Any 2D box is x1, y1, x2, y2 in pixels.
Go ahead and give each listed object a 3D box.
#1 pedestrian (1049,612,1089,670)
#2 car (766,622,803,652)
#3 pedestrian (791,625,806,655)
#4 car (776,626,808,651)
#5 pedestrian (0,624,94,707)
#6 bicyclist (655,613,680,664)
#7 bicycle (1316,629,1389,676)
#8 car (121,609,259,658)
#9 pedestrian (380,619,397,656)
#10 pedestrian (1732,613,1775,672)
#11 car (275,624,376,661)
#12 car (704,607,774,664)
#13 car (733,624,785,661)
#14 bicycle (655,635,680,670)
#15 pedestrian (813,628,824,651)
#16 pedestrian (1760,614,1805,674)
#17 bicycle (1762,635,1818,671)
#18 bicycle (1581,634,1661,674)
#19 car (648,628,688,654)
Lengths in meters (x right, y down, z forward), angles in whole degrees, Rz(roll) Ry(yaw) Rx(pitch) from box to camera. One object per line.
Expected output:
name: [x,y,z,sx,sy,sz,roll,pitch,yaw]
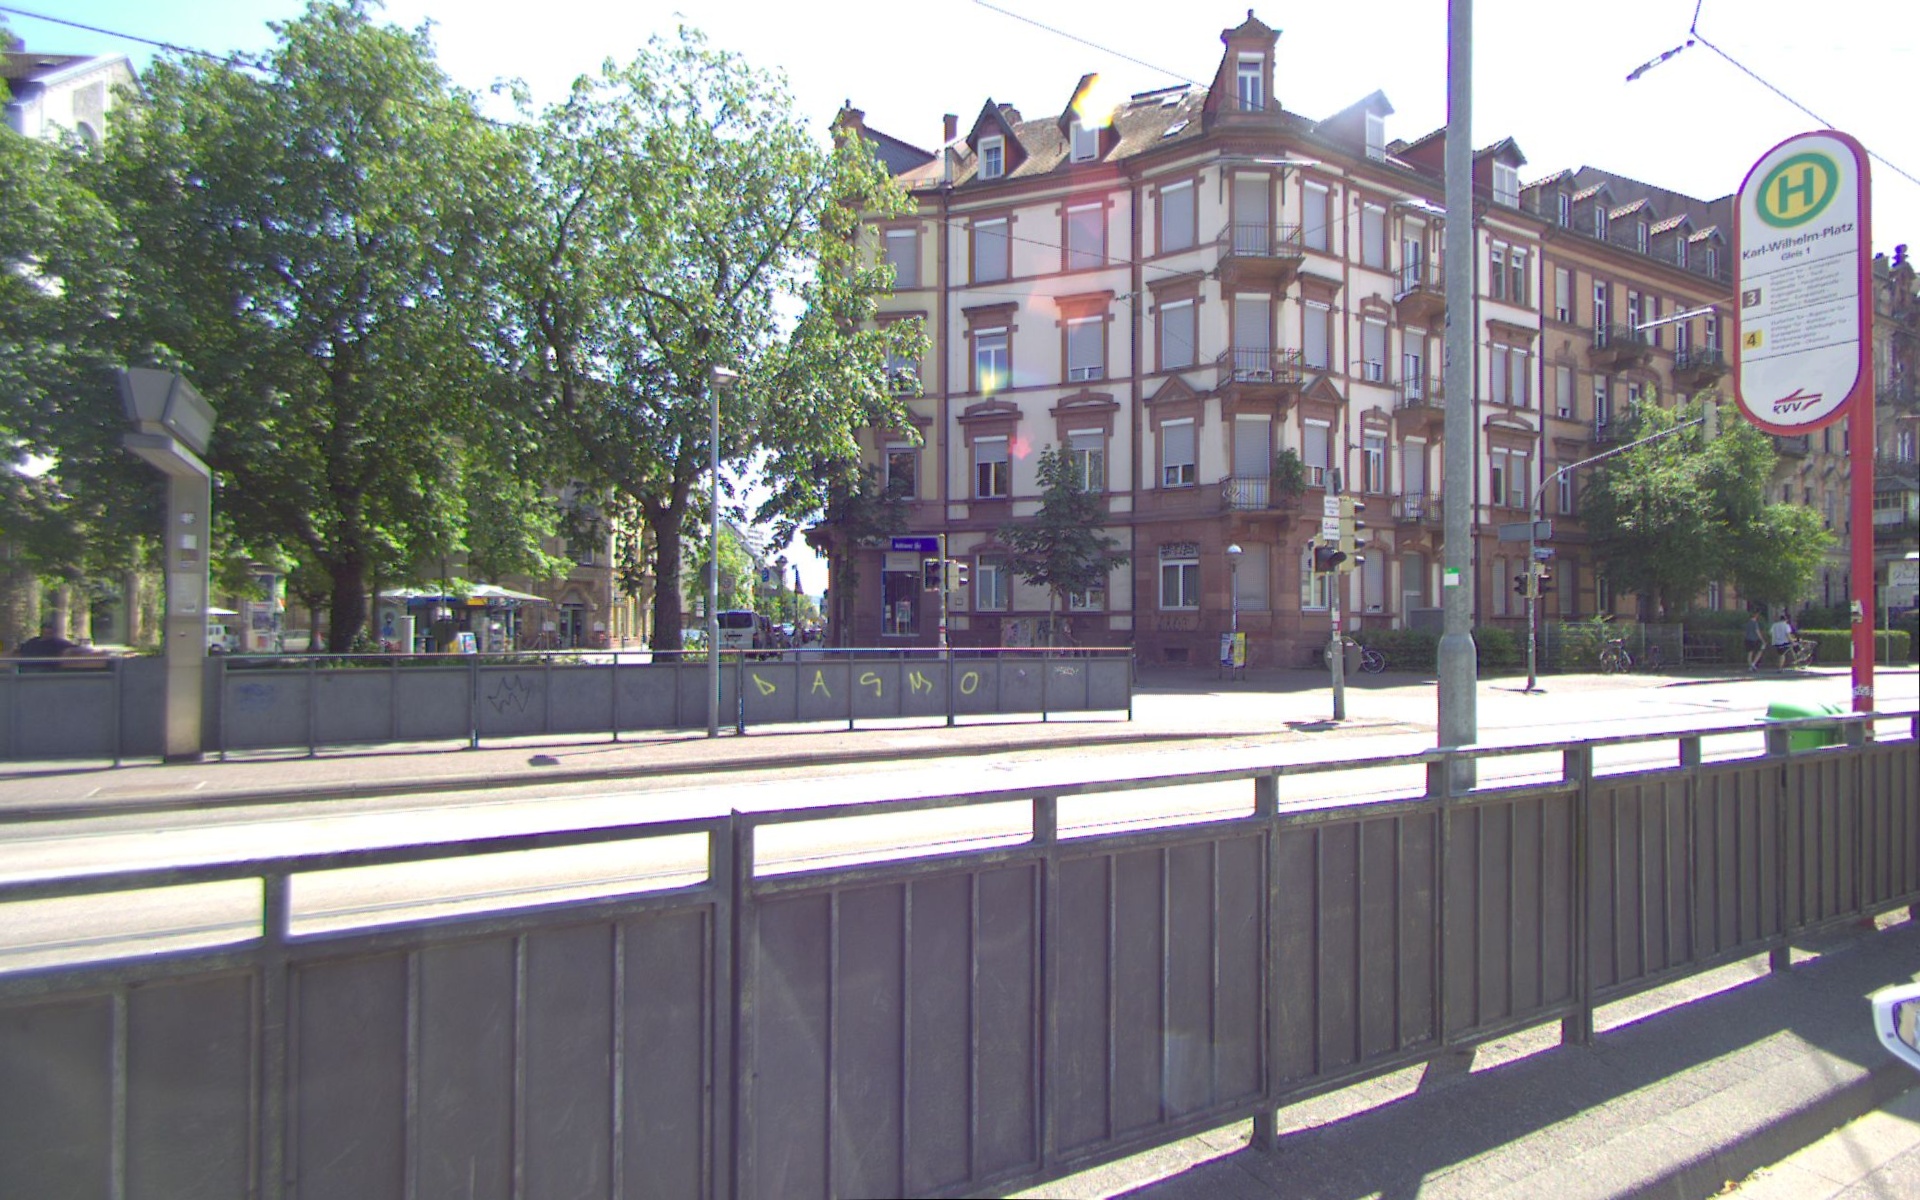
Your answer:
pedestrian: [3.328,1.241,30.582,1.042,1.712,0.722,-1,-1,25]
car: [-10.375,2.166,59.458,1.684,1.617,3.998,2,0,-4]
pedestrian: [-9.002,2.215,55.981,0.790,1.632,0.731,0,-1,-4]
car: [-12.485,2.831,74.762,1.962,1.617,3.998,2,0,-4]
pedestrian: [-14.662,1.037,16.109,0.925,1.261,0.860,2,0,-24]
bicyclist: [-9.419,1.234,32.366,0.688,1.613,0.847,1,-1,-15]
bicycle: [11.663,1.553,29.866,1.923,1.312,0.564,2,0,11]
car: [-31.191,1.356,40.820,3.932,1.814,1.994,2,0,-14]
pedestrian: [-26.726,1.758,46.982,0.506,1.692,0.491,0,-1,-8]
pedestrian: [25.696,1.367,32.524,0.863,1.847,0.812,0,1,-28]
car: [-32.078,2.146,50.895,3.920,1.730,1.761,2,0,-14]
car: [-8.330,1.291,38.221,1.962,1.970,3.998,2,0,-4]
car: [-9.627,2.001,48.293,1.893,1.541,3.998,2,0,-4]
bicycle: [-9.410,1.687,32.344,0.688,1.070,1.761,1,-1,-15]
pedestrian: [-10.062,2.835,71.574,0.742,1.632,0.688,0,-1,-4]
pedestrian: [26.118,1.371,31.891,0.863,1.847,0.812,0,1,-28]
bicycle: [28.521,1.800,34.491,2.750,1.151,0.930,2,0,-39]
bicycle: [20.226,1.642,30.720,2.742,1.151,0.932,2,0,-31]
car: [-20.661,2.903,71.168,1.846,1.617,3.998,2,0,-4]
